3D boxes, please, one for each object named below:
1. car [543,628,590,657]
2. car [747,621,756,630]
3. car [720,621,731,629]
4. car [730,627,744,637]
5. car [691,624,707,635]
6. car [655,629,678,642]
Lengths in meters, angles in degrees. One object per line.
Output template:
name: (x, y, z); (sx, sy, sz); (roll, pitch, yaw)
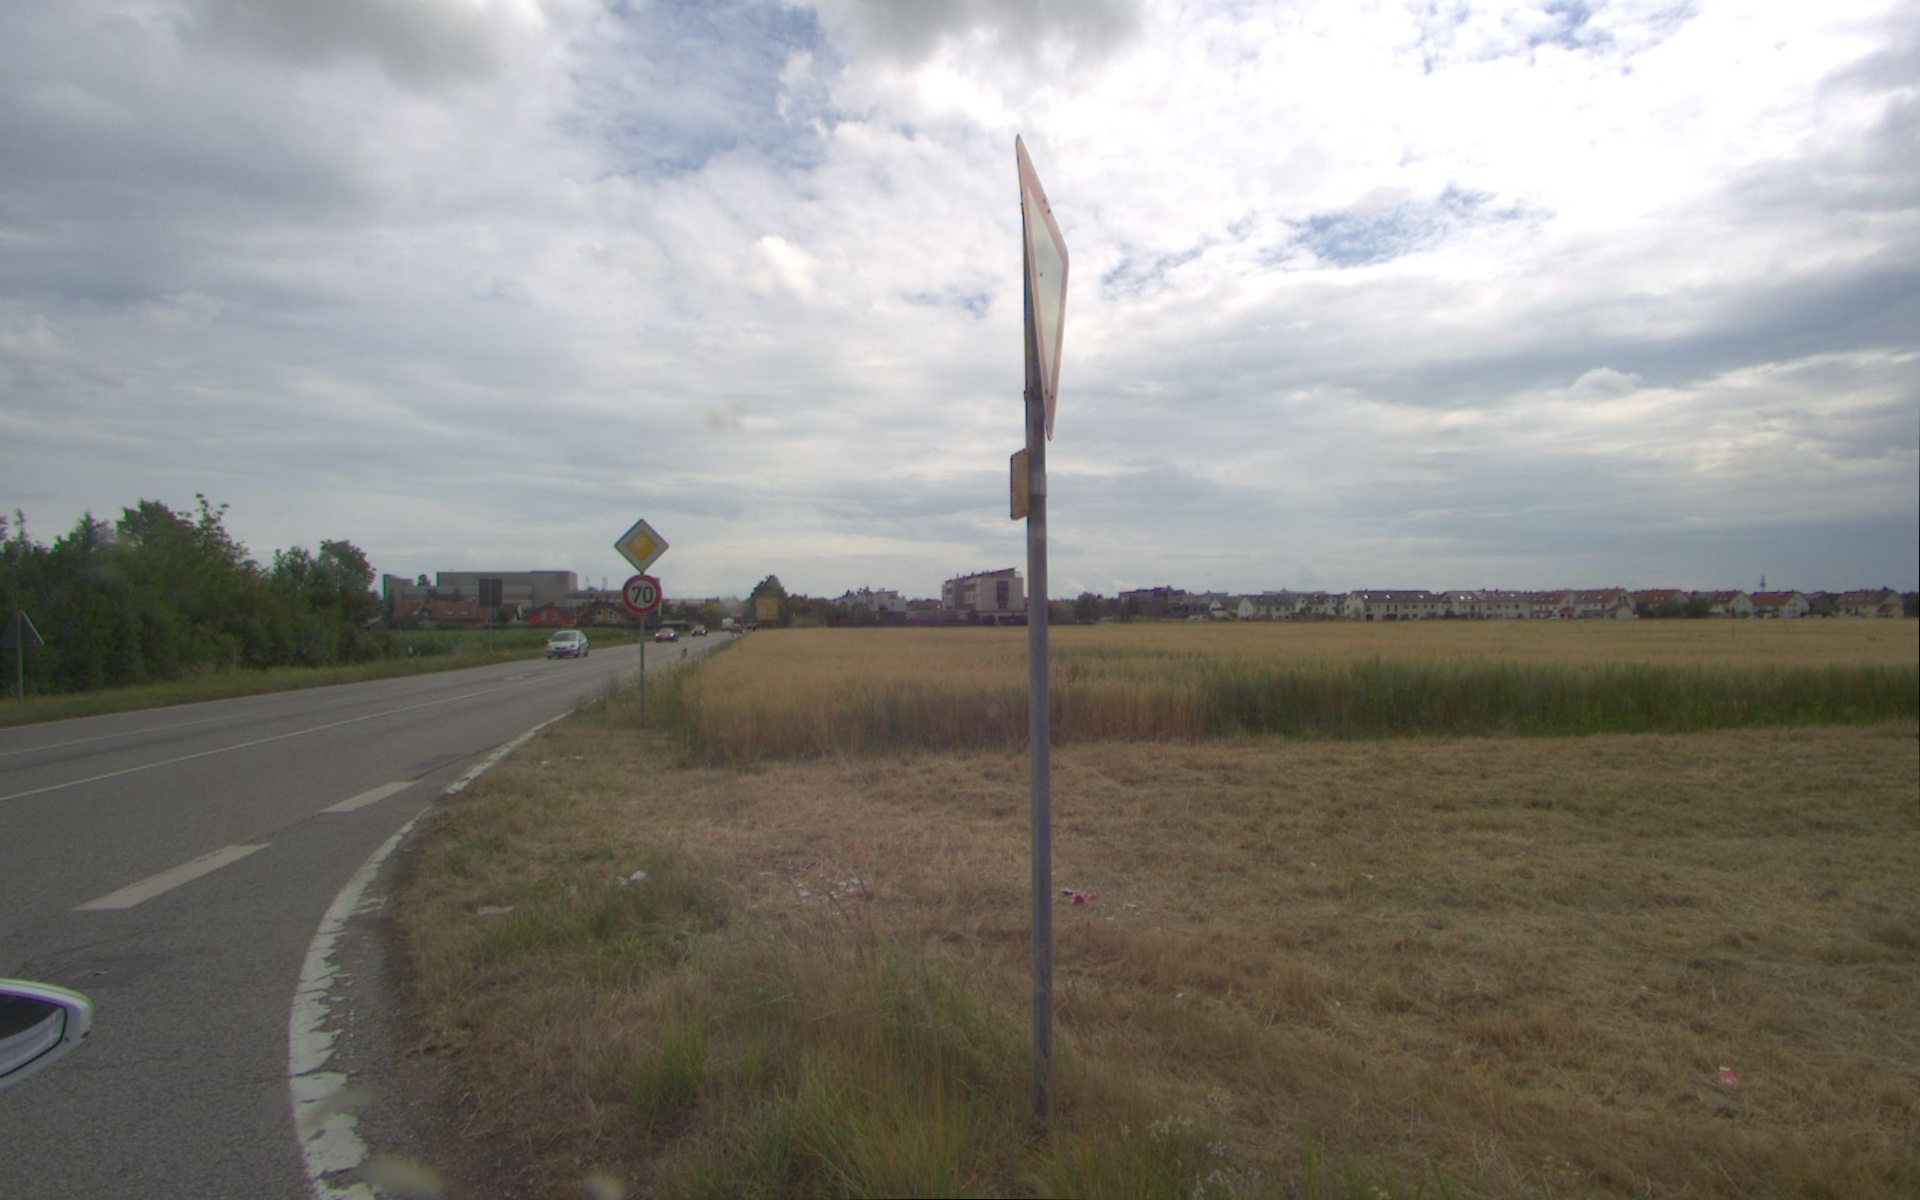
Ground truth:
car: (-22.136, 2.365, 56.458); (1.703, 1.450, 3.932); (-2, -1, -11)
car: (-45.424, 5.533, 218.163); (1.828, 1.750, 3.999); (0, -1, -8)
car: (-48.567, 5.195, 207.564); (1.962, 1.721, 4.673); (0, -1, -10)
car: (-35.665, 5.105, 160.429); (1.828, 1.586, 3.999); (0, -1, -8)
car: (-34.928, 3.949, 134.099); (1.643, 1.447, 4.301); (-2, -1, -11)
car: (-28.573, 3.440, 97.483); (1.744, 1.257, 4.208); (-1, -1, -12)
